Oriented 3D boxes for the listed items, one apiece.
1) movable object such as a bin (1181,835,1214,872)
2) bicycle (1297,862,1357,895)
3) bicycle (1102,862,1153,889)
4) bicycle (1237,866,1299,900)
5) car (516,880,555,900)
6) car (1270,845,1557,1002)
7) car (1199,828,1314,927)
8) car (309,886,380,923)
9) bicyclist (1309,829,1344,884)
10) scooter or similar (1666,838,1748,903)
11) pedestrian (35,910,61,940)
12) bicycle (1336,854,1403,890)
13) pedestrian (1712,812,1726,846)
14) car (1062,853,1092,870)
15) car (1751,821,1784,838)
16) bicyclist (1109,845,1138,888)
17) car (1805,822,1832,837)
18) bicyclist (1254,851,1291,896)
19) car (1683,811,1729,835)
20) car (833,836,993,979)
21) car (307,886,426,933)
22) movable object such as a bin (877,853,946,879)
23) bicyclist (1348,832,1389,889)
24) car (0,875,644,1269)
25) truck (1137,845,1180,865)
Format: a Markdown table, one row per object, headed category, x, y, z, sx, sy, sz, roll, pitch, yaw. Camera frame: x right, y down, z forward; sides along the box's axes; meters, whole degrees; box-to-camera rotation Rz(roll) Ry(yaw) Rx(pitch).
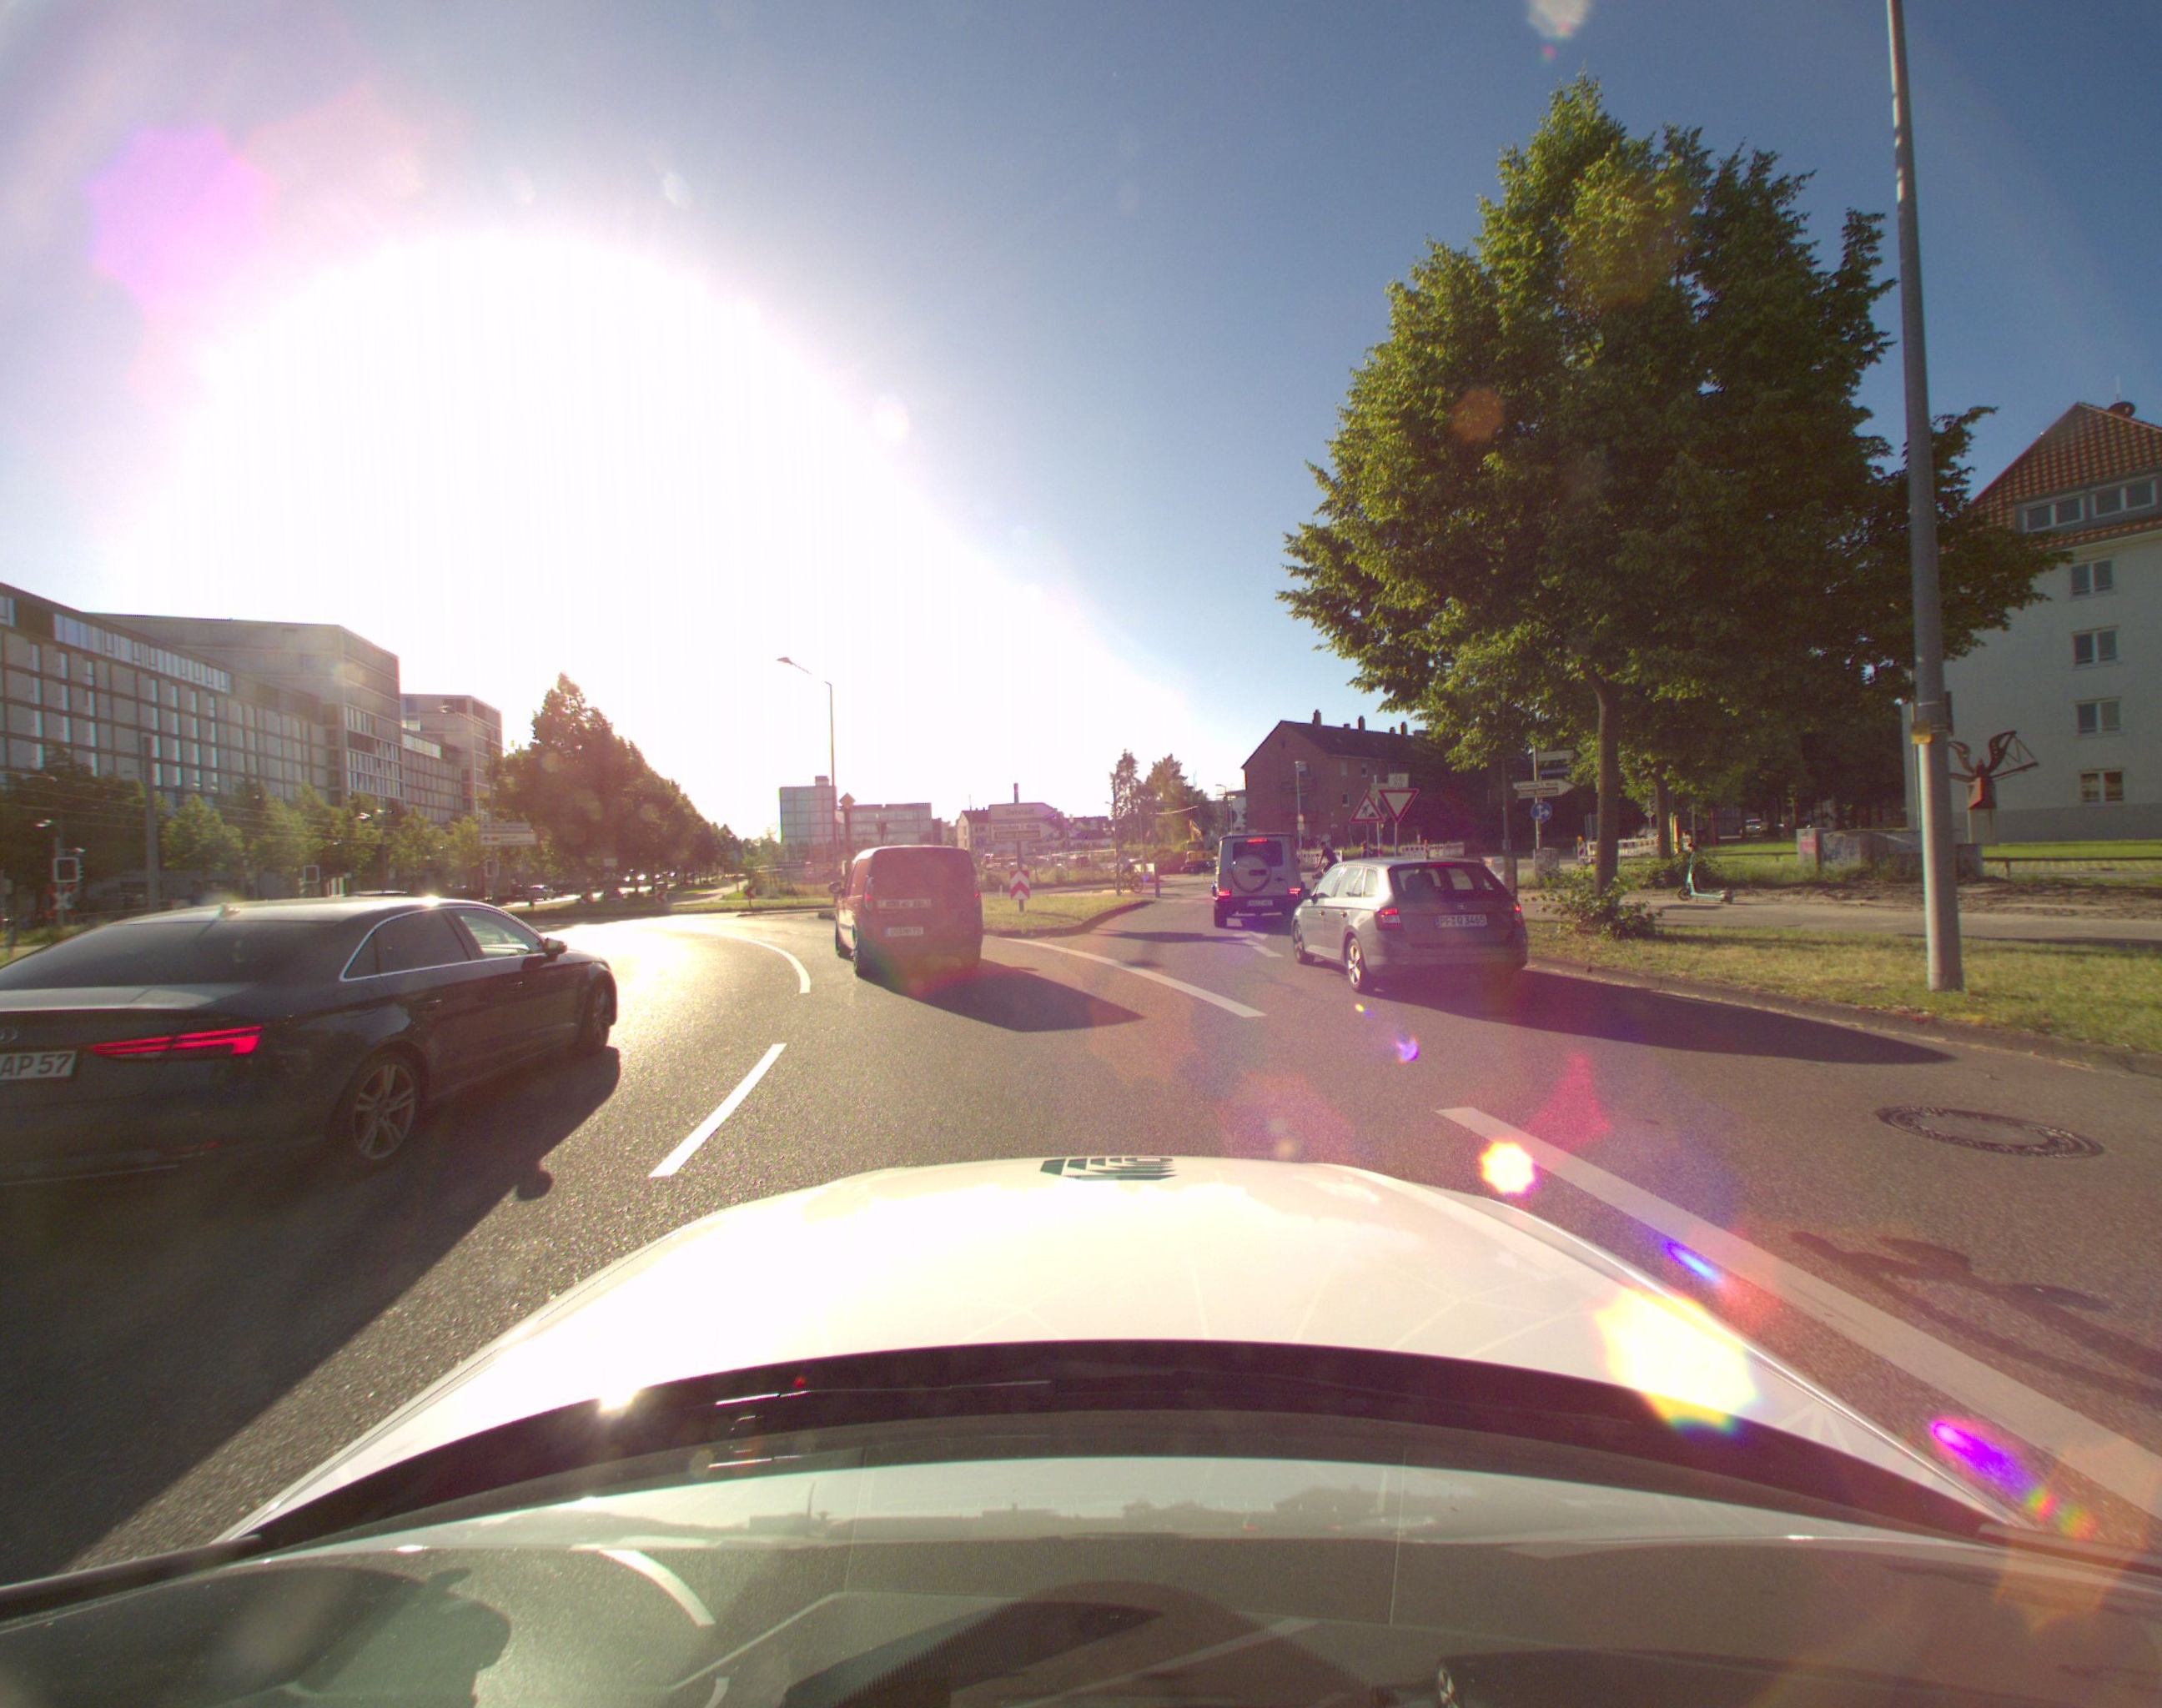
| category | x | y | z | sx | sy | sz | roll | pitch | yaw |
| --- | --- | --- | --- | --- | --- | --- | --- | --- | --- |
| movable object such as a bin | 9.254 | -0.034 | 64.888 | 2.407 | 2.773 | 4.007 | -1 | 0 | 6 |
| bicycle | 7.989 | 0.794 | 26.532 | 0.663 | 1.027 | 1.803 | -1 | -1 | -37 |
| bicycle | 1.913 | 0.904 | 33.775 | 1.984 | 1.027 | 0.747 | -2 | 3 | 38 |
| bicycle | 5.948 | 0.912 | 25.901 | 1.800 | 1.027 | 0.664 | -2 | -1 | 41 |
| car | -51.275 | 3.381 | 76.578 | 2.001 | 1.575 | 4.377 | -3 | 1 | -20 |
| car | 3.683 | 0.675 | 9.900 | 1.709 | 1.436 | 4.150 | -2 | 0 | -1 |
| car | 3.810 | 0.474 | 18.471 | 1.987 | 1.897 | 4.760 | -2 | 0 | 6 |
| car | -38.037 | 2.555 | 42.147 | 2.008 | 1.575 | 4.362 | -3 | 1 | -33 |
| bicyclist | 7.984 | 0.090 | 26.490 | 0.658 | 1.730 | 0.803 | -2 | -1 | -38 |
| scooter or similar | 12.667 | 0.335 | 16.509 | 0.444 | 1.248 | 1.257 | -1 | -1 | -17 |
| pedestrian | -53.228 | 3.657 | 41.966 | 0.556 | 1.466 | 0.672 | -2 | -1 | -22 |
| bicycle | 8.485 | 0.530 | 24.034 | 0.663 | 1.027 | 1.805 | -1 | -1 | -33 |
| pedestrian | 38.598 | -1.491 | 49.285 | 0.456 | 2.013 | 0.467 | -3 | 0 | -31 |
| car | -0.494 | 0.874 | 98.215 | 2.002 | 2.013 | 4.463 | -1 | 0 | -24 |
| car | 78.051 | -2.767 | 92.546 | 4.018 | 1.871 | 1.978 | -1 | 0 | -37 |
| bicyclist | 1.765 | 0.519 | 33.844 | 0.843 | 1.680 | 0.747 | -2 | 3 | 38 |
| car | 100.005 | -3.288 | 110.426 | 4.018 | 1.871 | 1.978 | -1 | 0 | -37 |
| bicyclist | 6.063 | 0.607 | 25.797 | 0.923 | 1.385 | 0.664 | -1 | -1 | 41 |
| car | 51.189 | -2.499 | 66.716 | 4.018 | 1.871 | 1.978 | -1 | 0 | -37 |
| car | -2.751 | 0.718 | 12.648 | 1.809 | 1.813 | 3.782 | -2 | 0 | -21 |
| car | -25.503 | 1.930 | 29.082 | 3.762 | 1.461 | 1.819 | -1 | 1 | 25 |
| movable object such as a bin | -20.768 | 1.418 | 99.618 | 7.927 | 2.782 | 2.926 | -2 | 0 | -18 |
| bicyclist | 8.477 | 0.191 | 24.028 | 0.663 | 1.665 | 0.890 | -1 | -1 | -33 |
| car | -4.615 | 0.908 | 5.245 | 1.760 | 1.380 | 4.346 | -2 | 0 | -9 |
| truck | 7.974 | 0.092 | 84.405 | 2.169 | 2.013 | 6.399 | -1 | 0 | -16 |
